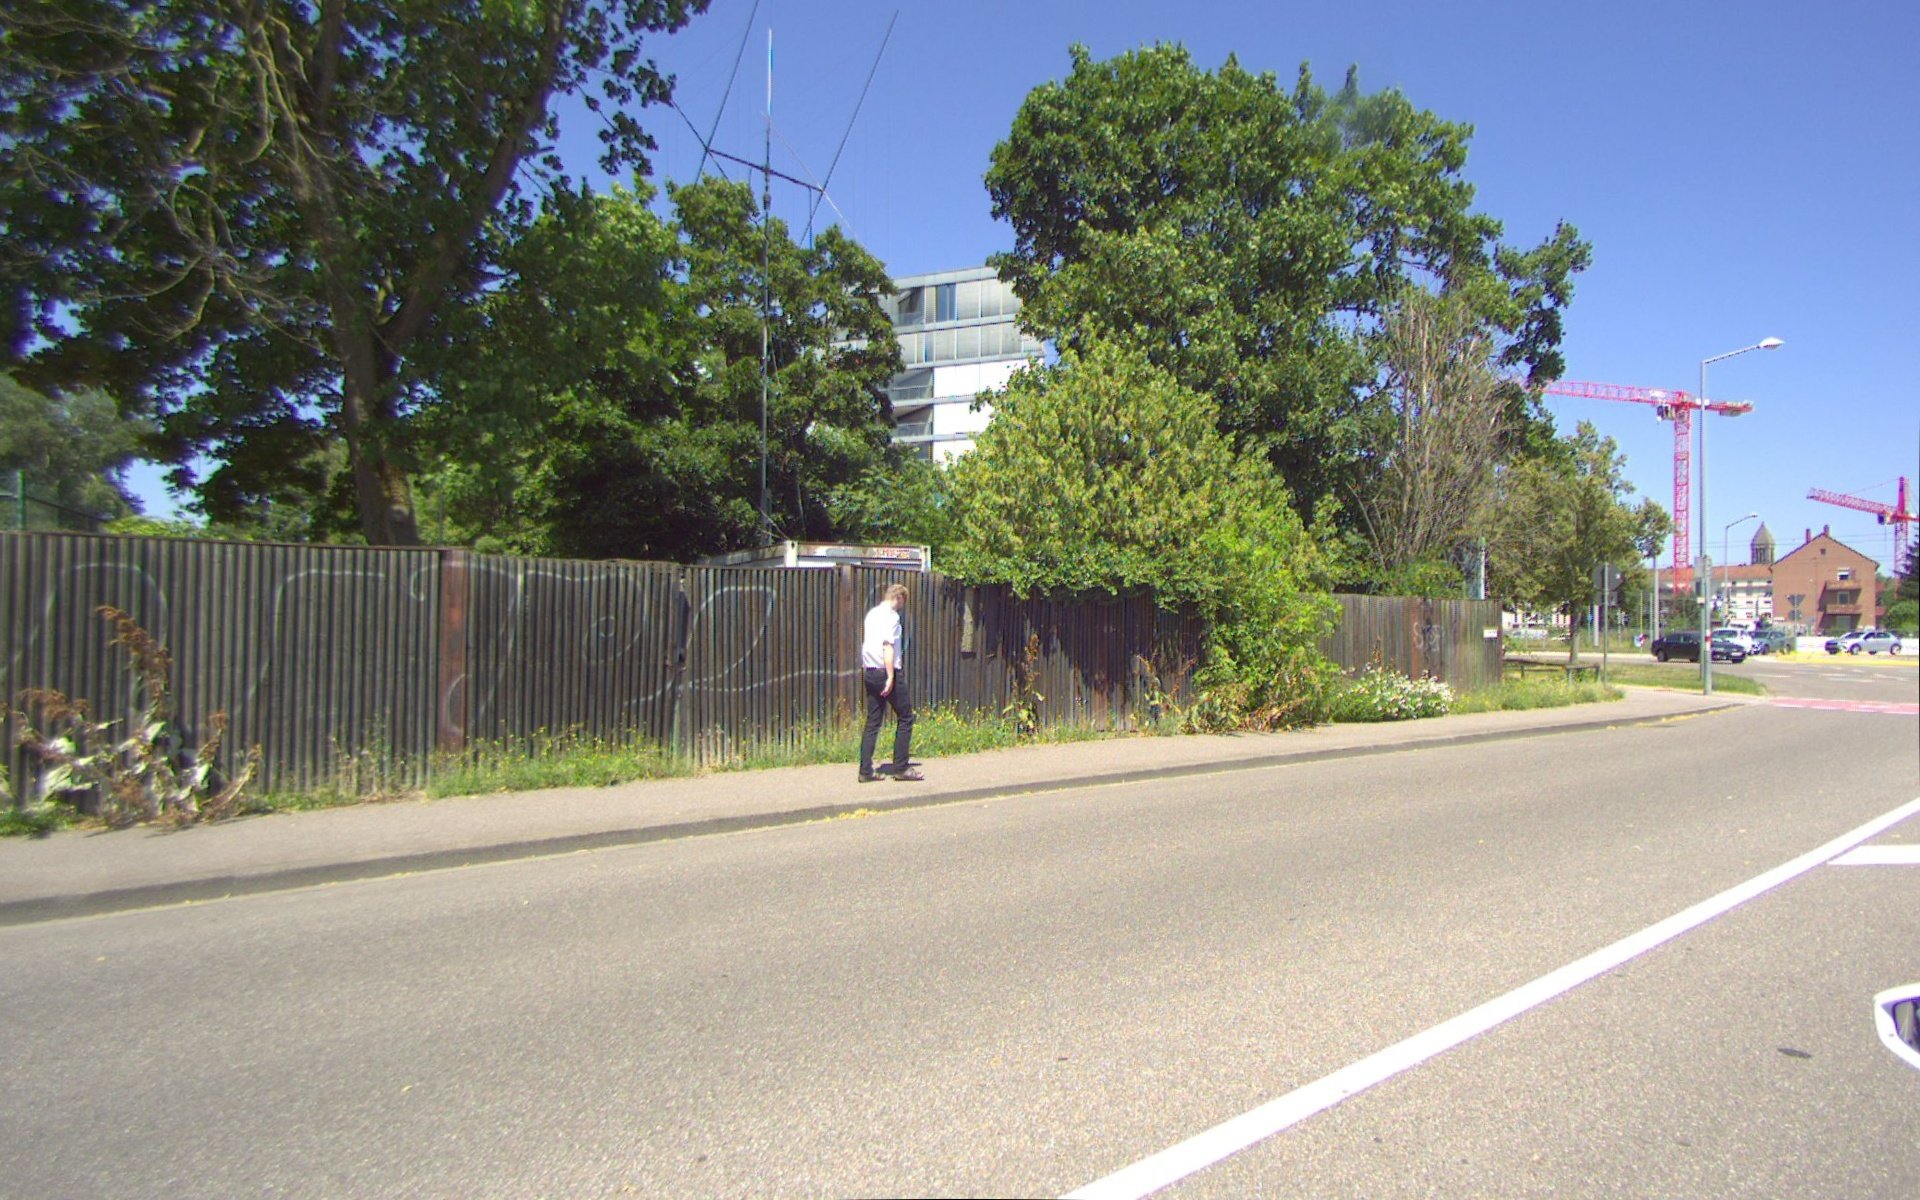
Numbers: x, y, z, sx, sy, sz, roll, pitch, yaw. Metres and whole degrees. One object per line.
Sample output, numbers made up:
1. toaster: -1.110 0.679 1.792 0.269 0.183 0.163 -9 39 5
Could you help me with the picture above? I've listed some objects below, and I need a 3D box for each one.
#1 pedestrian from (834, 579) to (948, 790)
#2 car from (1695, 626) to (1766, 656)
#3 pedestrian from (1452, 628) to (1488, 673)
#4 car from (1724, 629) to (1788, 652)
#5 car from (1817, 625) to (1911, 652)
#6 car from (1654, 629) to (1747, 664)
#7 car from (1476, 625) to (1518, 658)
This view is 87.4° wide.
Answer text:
1. pedestrian: -0.637 0.747 9.247 0.841 1.849 0.589 1 0 -30
2. car: 42.584 2.236 55.480 3.953 1.570 1.748 2 -1 -30
3. pedestrian: 18.420 1.806 36.265 0.796 1.584 0.876 1 0 -7
4. car: 46.590 2.377 58.750 3.742 1.253 1.699 2 -1 -30
5. car: 55.587 2.338 61.791 4.136 1.520 1.713 1 -1 3
6. car: 35.243 2.174 47.963 1.786 1.466 4.536 1 -1 11
7. car: 32.280 2.441 60.486 1.962 1.840 3.997 1 -1 24
